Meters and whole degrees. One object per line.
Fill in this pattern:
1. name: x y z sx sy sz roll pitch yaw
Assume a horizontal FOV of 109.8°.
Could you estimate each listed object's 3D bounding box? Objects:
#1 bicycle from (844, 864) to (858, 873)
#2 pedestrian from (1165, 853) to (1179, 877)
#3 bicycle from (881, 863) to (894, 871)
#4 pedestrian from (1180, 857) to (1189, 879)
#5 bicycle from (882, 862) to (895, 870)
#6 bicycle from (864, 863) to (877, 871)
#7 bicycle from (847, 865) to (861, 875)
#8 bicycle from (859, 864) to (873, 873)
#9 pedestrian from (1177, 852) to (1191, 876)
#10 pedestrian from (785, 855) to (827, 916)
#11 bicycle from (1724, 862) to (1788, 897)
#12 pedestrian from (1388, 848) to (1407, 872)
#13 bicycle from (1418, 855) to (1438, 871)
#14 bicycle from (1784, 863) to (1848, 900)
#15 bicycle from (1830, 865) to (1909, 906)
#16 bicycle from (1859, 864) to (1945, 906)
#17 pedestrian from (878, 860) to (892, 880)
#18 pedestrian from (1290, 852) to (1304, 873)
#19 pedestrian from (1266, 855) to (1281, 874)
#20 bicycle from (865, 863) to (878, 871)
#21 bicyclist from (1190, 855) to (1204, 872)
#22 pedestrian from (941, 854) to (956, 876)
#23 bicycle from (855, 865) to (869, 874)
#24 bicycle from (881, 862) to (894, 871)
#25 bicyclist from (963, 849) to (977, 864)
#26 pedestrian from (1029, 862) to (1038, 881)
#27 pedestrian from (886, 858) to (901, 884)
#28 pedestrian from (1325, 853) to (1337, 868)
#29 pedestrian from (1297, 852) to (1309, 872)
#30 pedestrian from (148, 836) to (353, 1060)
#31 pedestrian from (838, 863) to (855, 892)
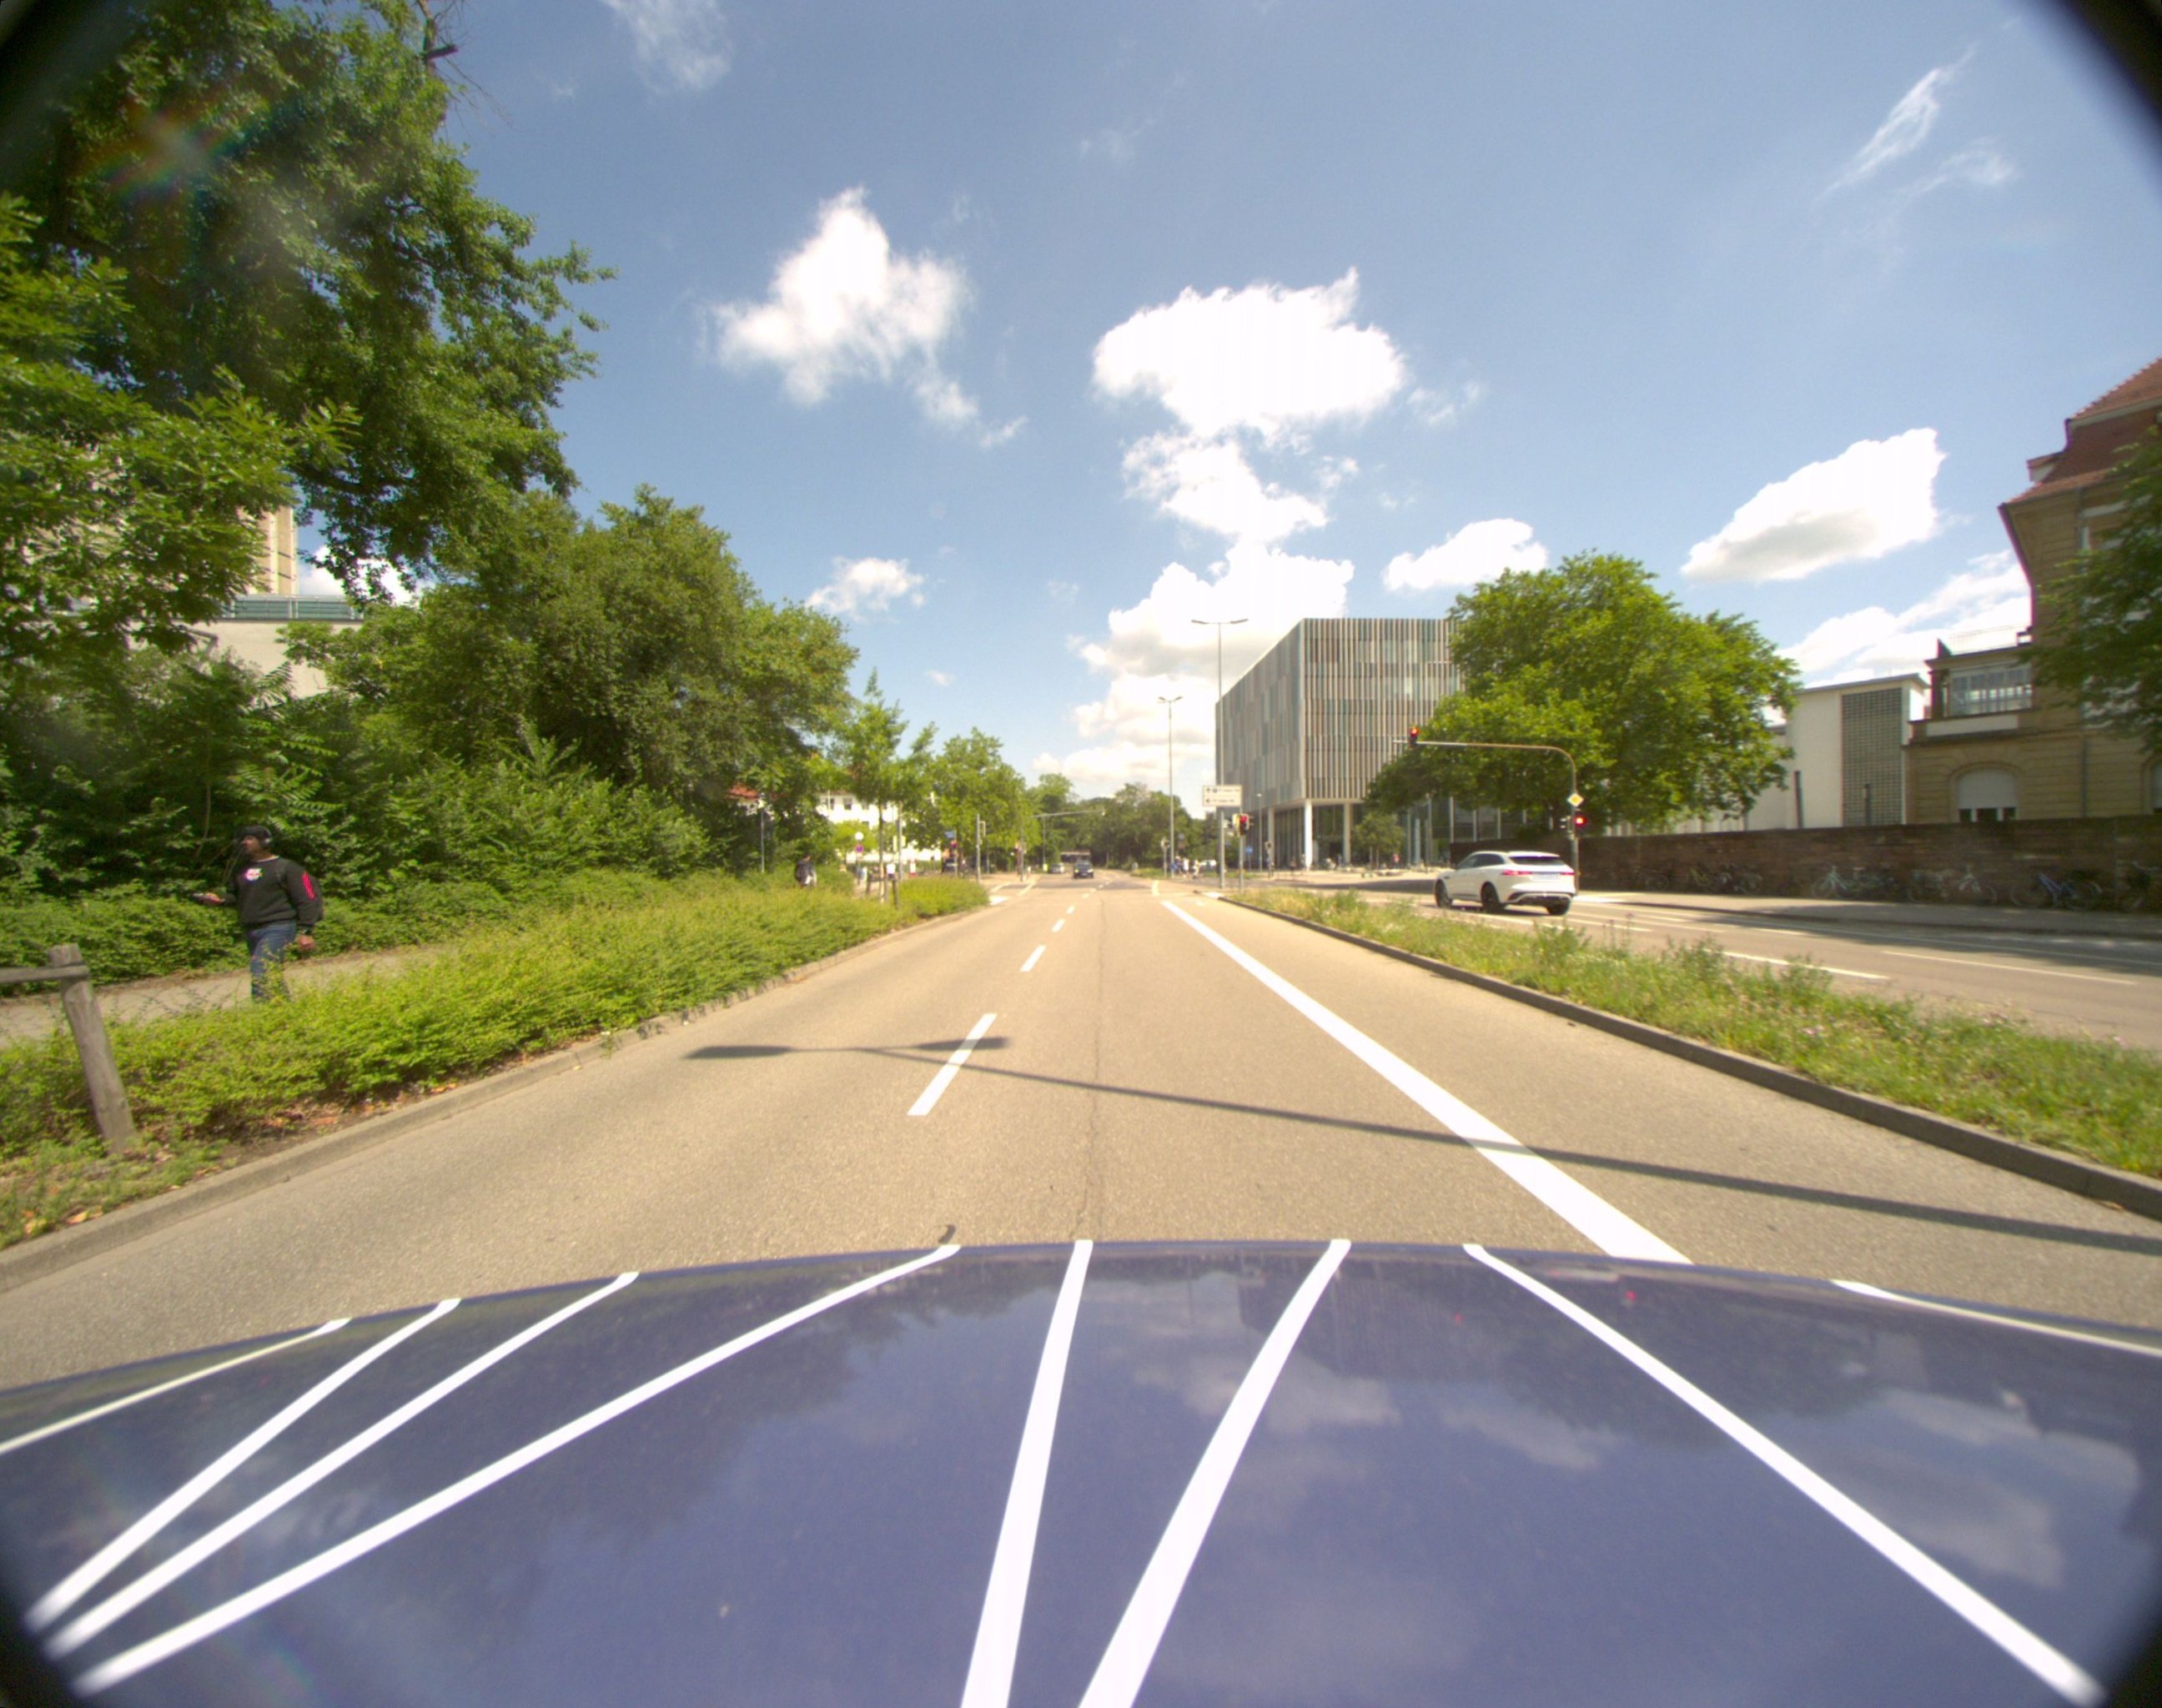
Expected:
1. bicycle: -24.521 1.592 81.017 1.412 0.945 0.352 -1 0 -5
2. pedestrian: 7.613 0.912 63.434 1.108 1.914 0.972 -1 0 6
3. bicycle: -22.914 1.494 89.787 1.428 0.945 0.352 -1 0 -5
4. pedestrian: 8.572 1.134 63.150 0.646 1.815 0.689 -1 0 1
5. bicycle: -22.979 1.485 90.878 1.428 0.945 0.352 -1 0 -5
6. bicycle: -24.911 1.514 90.056 1.428 0.945 0.352 -1 0 -5
7. bicycle: -22.702 1.618 75.977 1.371 0.945 0.352 -1 0 -5
8. bicycle: -22.818 1.578 80.456 1.371 0.945 0.352 -1 0 -5
9. pedestrian: 8.431 0.827 62.222 1.108 1.914 0.972 -1 0 7
10. pedestrian: -7.901 0.877 21.859 0.815 1.711 0.930 -1 1 2
11. bicycle: 22.945 0.846 25.862 0.623 1.145 1.593 -1 0 -7
12. pedestrian: 26.373 0.504 63.340 1.108 1.914 0.972 -1 0 2
13. bicycle: 33.965 0.888 74.401 0.997 1.543 3.422 -1 0 38
14. bicycle: 23.329 0.856 24.145 0.413 1.145 1.594 -1 0 -4
15. bicycle: 23.315 0.907 22.510 0.403 1.145 1.591 -1 0 -22
16. bicycle: 23.250 0.857 21.545 0.403 1.145 1.590 -1 0 -32
17. pedestrian: -15.829 1.263 61.396 1.064 1.588 0.971 -1 0 -14
18. pedestrian: 19.777 0.789 69.567 0.969 1.914 0.881 -1 1 39
19. pedestrian: 17.454 0.951 68.974 0.972 1.619 0.878 -1 0 -12
20. bicycle: -24.961 1.510 90.467 1.428 0.945 0.352 -1 0 -5
21. bicyclist: 8.368 0.700 54.715 0.617 1.219 0.835 0 0 43
22. pedestrian: -11.774 0.971 67.511 1.030 1.914 0.972 -1 0 8
23. bicycle: -22.256 1.601 77.291 1.371 0.945 0.352 -1 0 -5
24. bicycle: -22.994 1.490 90.301 1.428 0.945 0.352 -1 0 -5
25. bicyclist: -10.889 0.254 74.418 1.075 1.436 0.972 -1 0 6
26. pedestrian: -3.922 1.428 62.646 0.591 1.495 0.416 -1 1 -17
27. pedestrian: -13.358 1.210 54.101 0.878 1.861 0.971 -1 0 -3
28. pedestrian: 28.478 0.765 86.644 1.011 1.697 1.213 -1 0 35
29. pedestrian: 21.009 0.750 71.877 0.969 1.914 0.880 -1 1 27
30. pedestrian: -6.766 0.724 6.244 0.718 1.711 0.837 -1 1 2
31. pedestrian: -13.241 1.331 42.915 0.633 1.617 0.647 0 1 36
